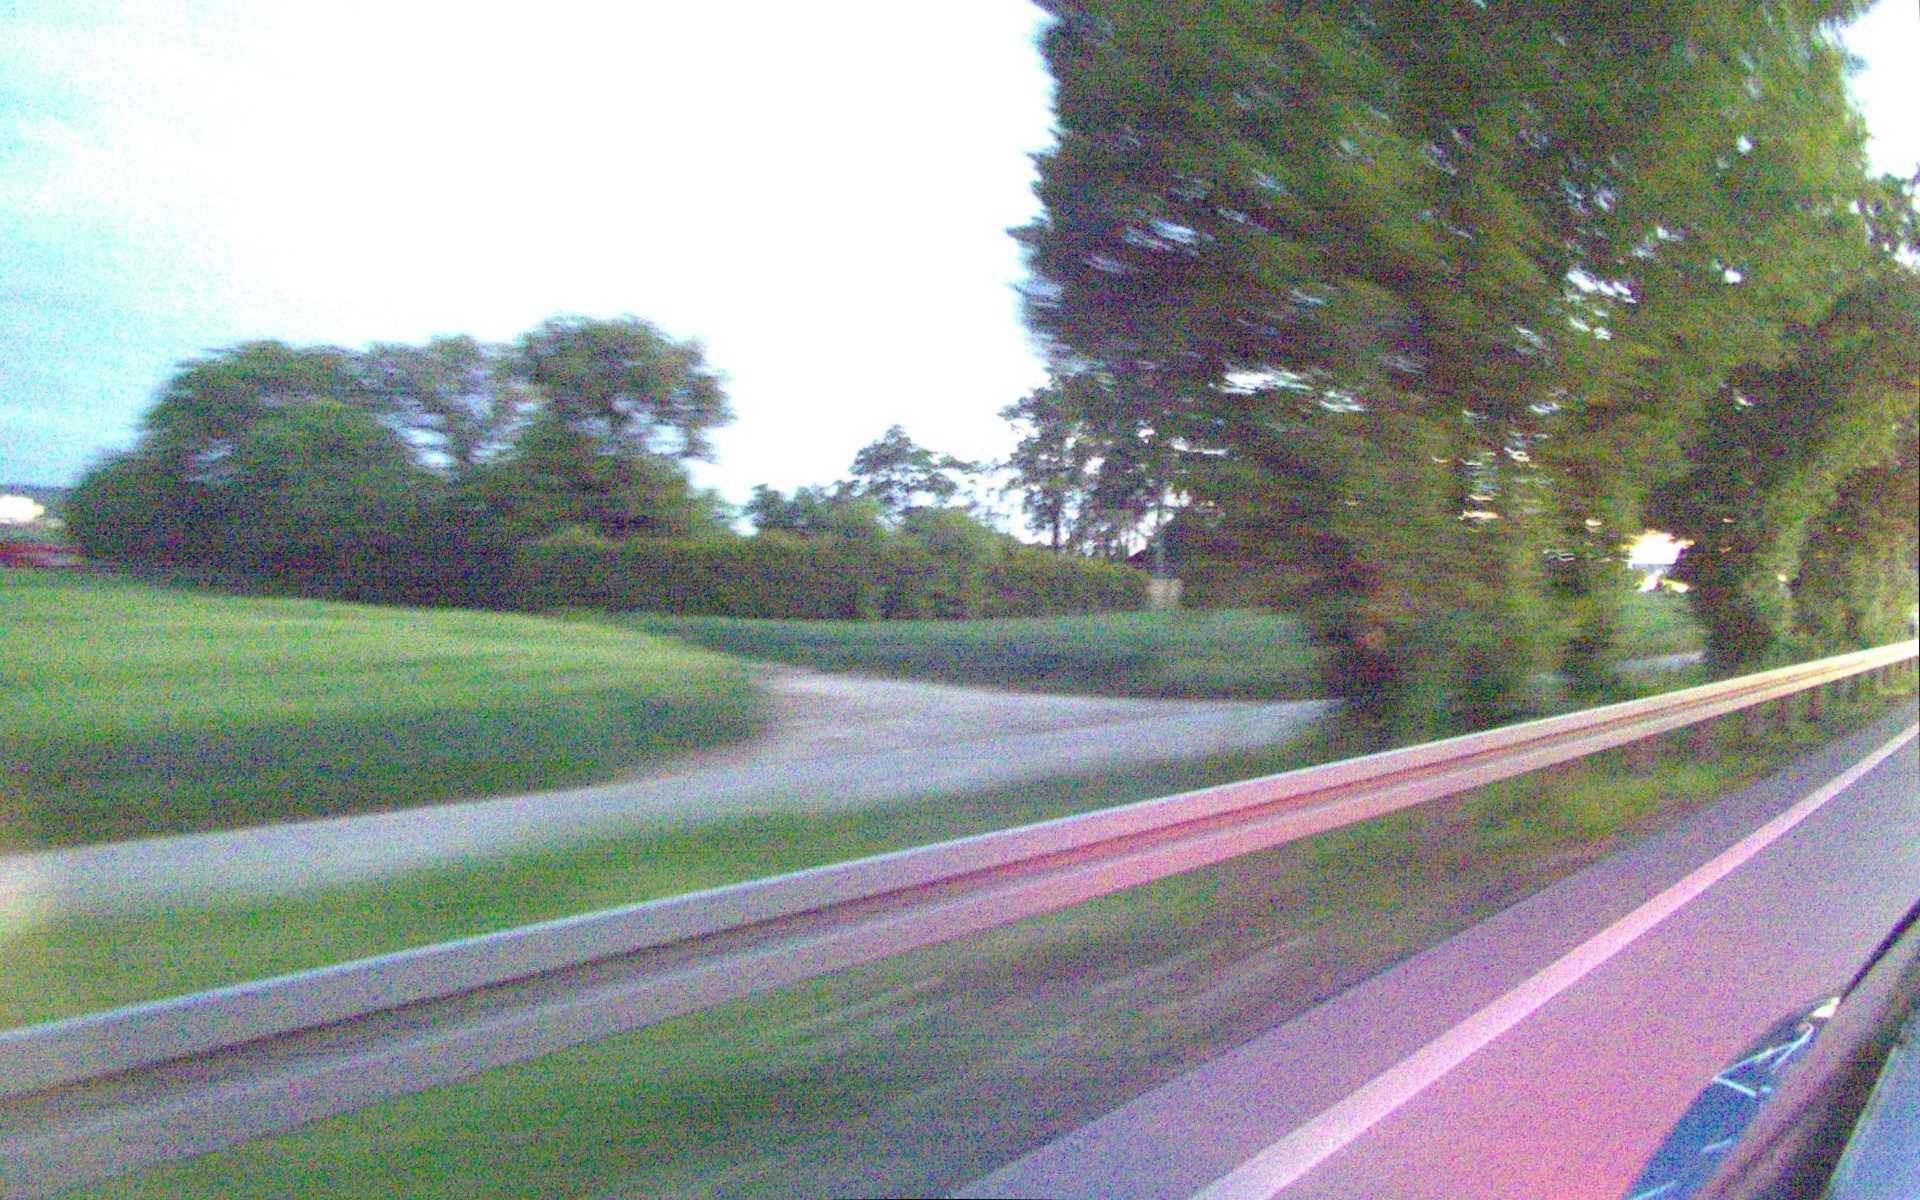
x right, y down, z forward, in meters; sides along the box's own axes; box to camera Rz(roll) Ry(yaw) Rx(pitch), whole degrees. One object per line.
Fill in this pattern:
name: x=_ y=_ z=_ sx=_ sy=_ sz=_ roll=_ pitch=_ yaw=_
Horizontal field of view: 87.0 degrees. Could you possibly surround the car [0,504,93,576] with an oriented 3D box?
car: x=-30.113 y=-1.882 z=31.438 sx=1.989 sy=2.178 sz=4.518 roll=3 pitch=2 yaw=37
